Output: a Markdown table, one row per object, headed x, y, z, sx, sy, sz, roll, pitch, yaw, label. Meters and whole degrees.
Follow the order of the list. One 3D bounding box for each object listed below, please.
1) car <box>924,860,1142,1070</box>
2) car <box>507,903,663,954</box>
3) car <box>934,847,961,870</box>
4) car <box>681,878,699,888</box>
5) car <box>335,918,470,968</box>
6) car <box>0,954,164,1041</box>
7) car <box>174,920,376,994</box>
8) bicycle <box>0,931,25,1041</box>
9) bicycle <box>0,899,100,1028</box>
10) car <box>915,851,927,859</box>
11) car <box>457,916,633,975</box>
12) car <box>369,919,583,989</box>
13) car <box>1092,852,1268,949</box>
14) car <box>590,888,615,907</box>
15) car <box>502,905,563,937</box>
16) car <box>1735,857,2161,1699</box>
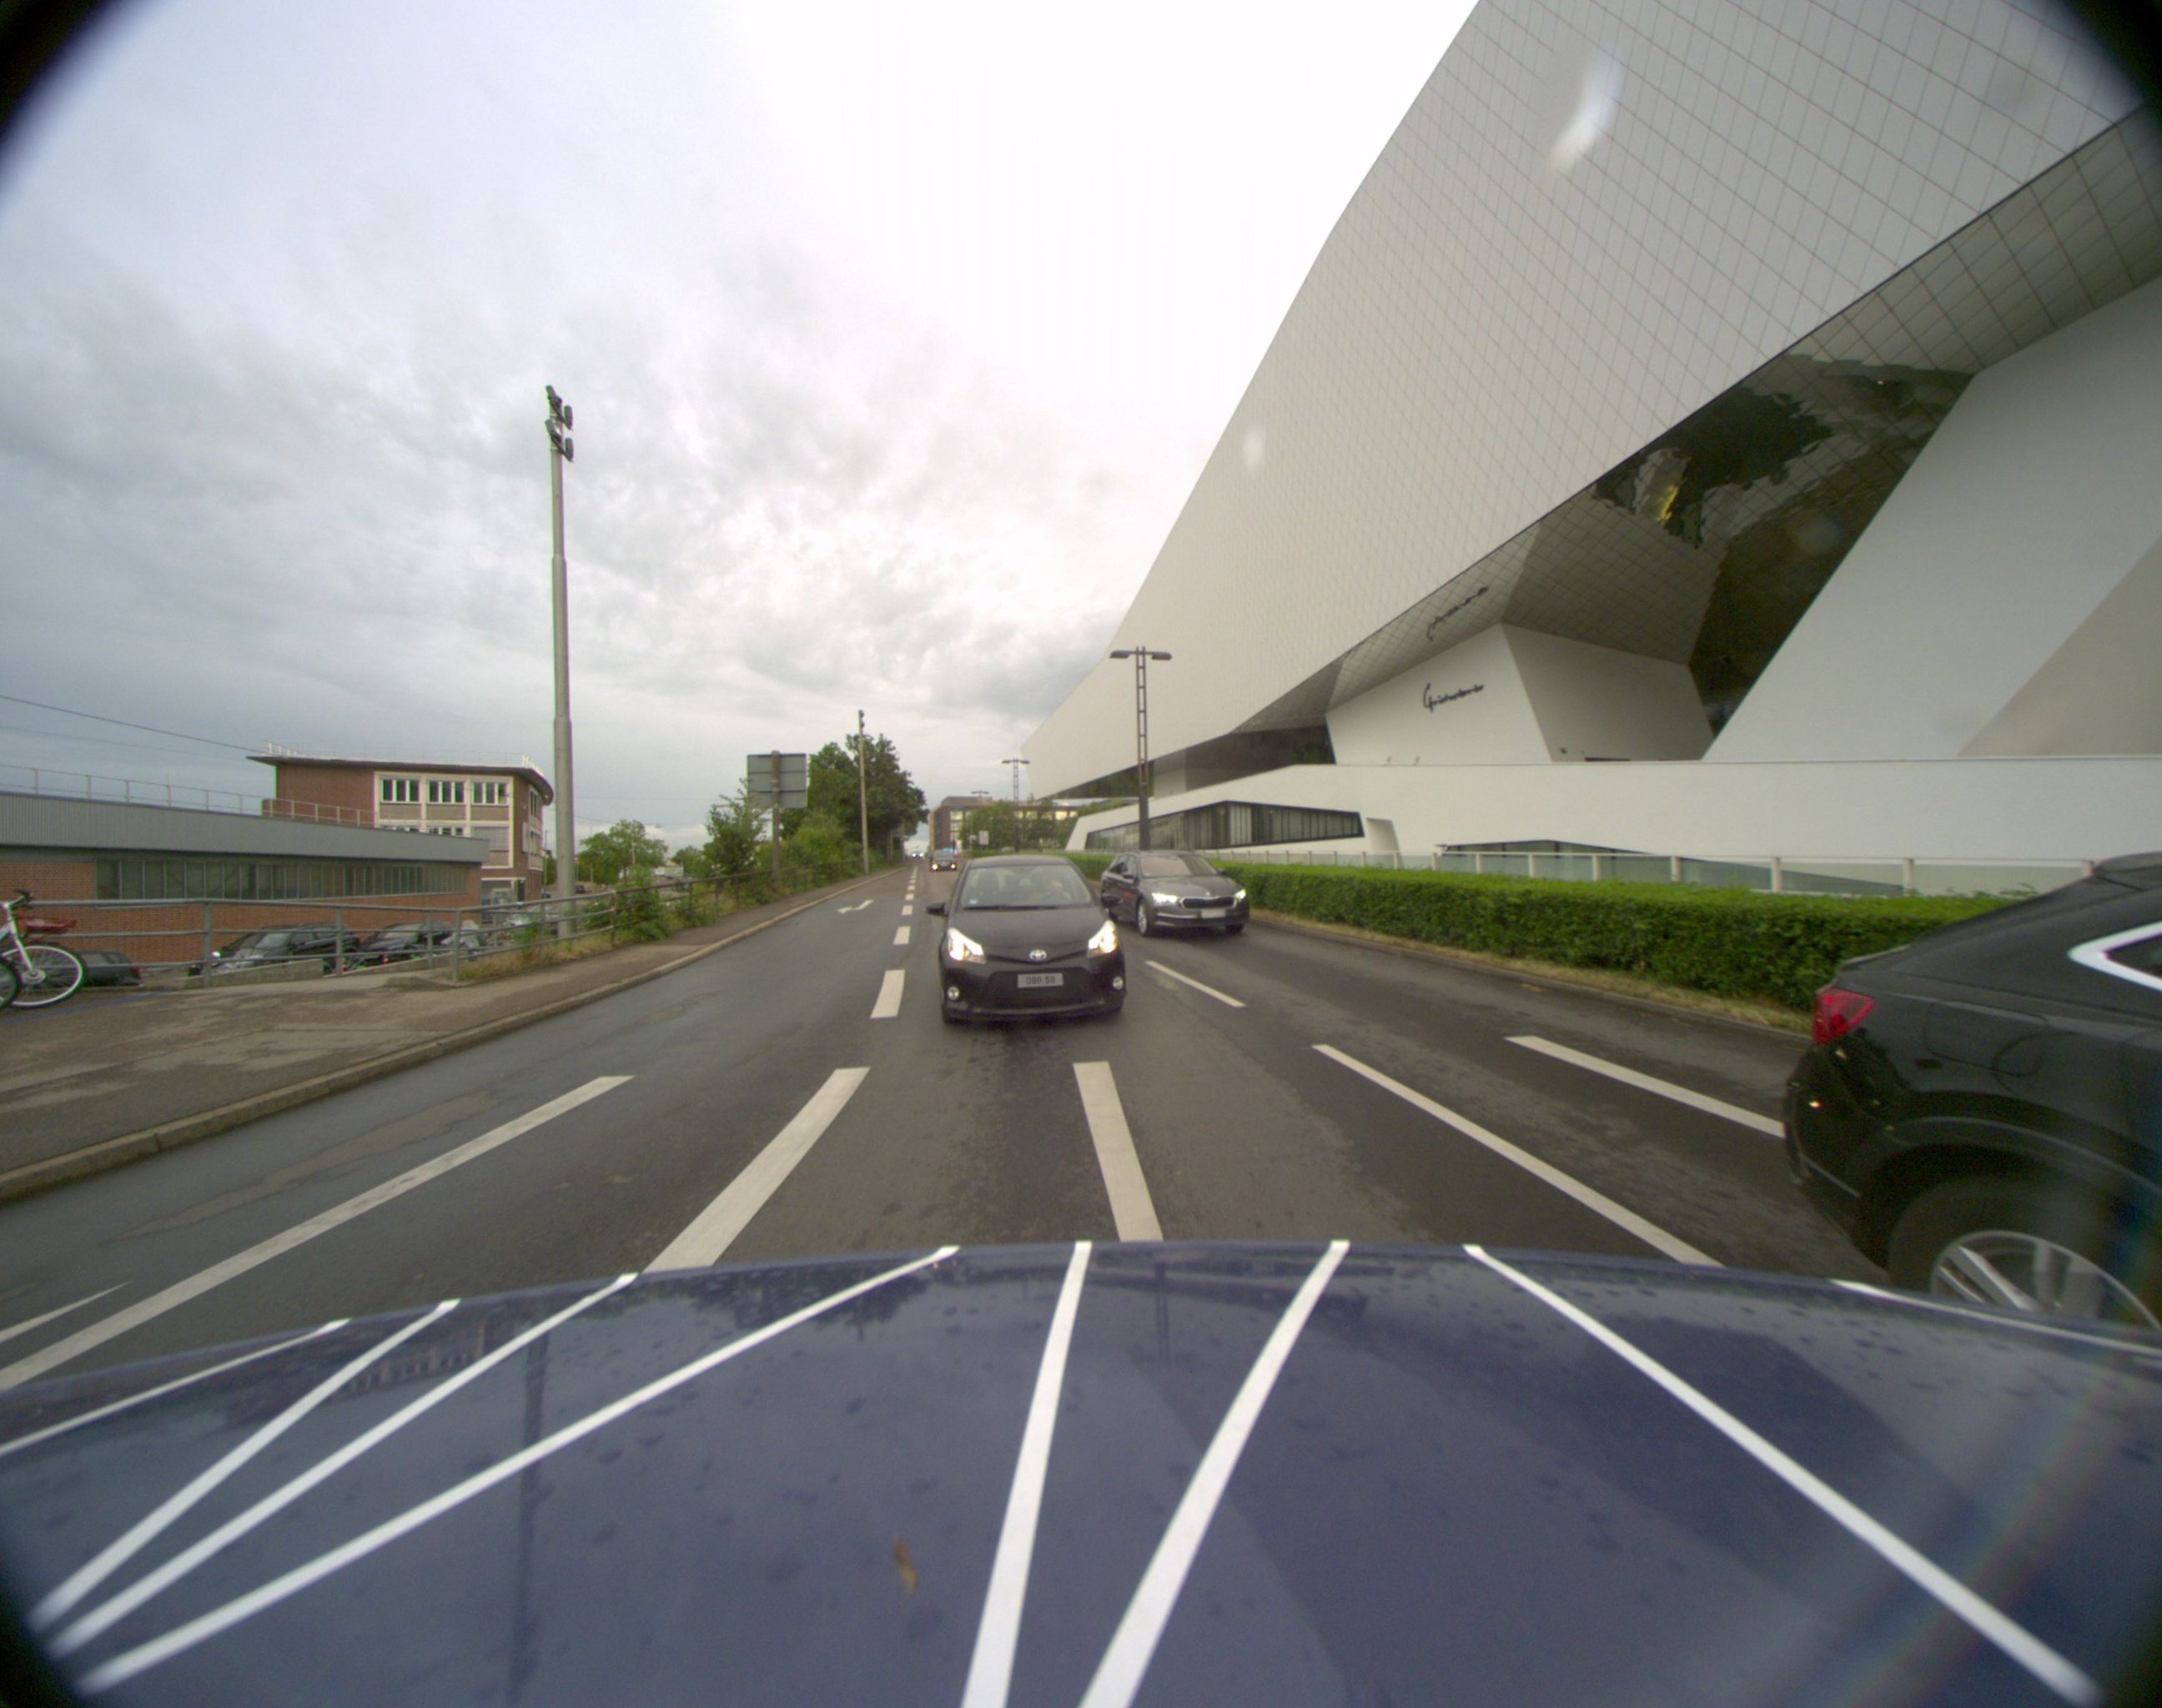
| x | y | z | sx | sy | sz | roll | pitch | yaw | label |
| --- | --- | --- | --- | --- | --- | --- | --- | --- | --- |
| -0.657 | 0.895 | 8.080 | 1.695 | 1.499 | 4.007 | -2 | 1 | -8 | car |
| -16.142 | 2.411 | 24.830 | 3.996 | 1.417 | 1.721 | -2 | 0 | 4 | car |
| -9.438 | 0.288 | 53.841 | 1.750 | 1.466 | 4.064 | -3 | 1 | -9 | car |
| -55.734 | 4.135 | 108.308 | 1.724 | 1.417 | 3.990 | -2 | 0 | -35 | car |
| -25.845 | 3.350 | 29.160 | 1.720 | 1.396 | 4.272 | -2 | 0 | -8 | car |
| -23.275 | 3.185 | 16.718 | 1.721 | 1.417 | 3.997 | -2 | 0 | -10 | car |
| -24.564 | 3.069 | 23.457 | 1.784 | 1.657 | 4.502 | -2 | 0 | -8 | car |
| -10.172 | 1.186 | 6.222 | 0.485 | 0.916 | 1.708 | 1 | 2 | 44 | bicycle |
| -10.416 | 1.030 | 7.044 | 1.547 | 1.149 | 0.450 | 0 | 2 | -27 | bicycle |
| -28.957 | 0.172 | 137.417 | 1.819 | 1.430 | 4.297 | -1 | -1 | -16 | car |
| -15.648 | 2.663 | 22.287 | 3.996 | 1.417 | 1.721 | -2 | 0 | 4 | car |
| -14.902 | 2.437 | 18.837 | 3.996 | 1.417 | 1.721 | -2 | 0 | 4 | car |
| 1.604 | 0.709 | 13.997 | 1.819 | 1.430 | 4.297 | -2 | 1 | -12 | car |
| -42.187 | 3.824 | 67.032 | 1.723 | 1.417 | 3.991 | -2 | 0 | -31 | car |
| -30.378 | 3.673 | 42.205 | 1.735 | 1.380 | 3.993 | -2 | 0 | -21 | car |
| 2.873 | 0.819 | 0.114 | 1.757 | 1.509 | 4.393 | -2 | 1 | 0 | car |
